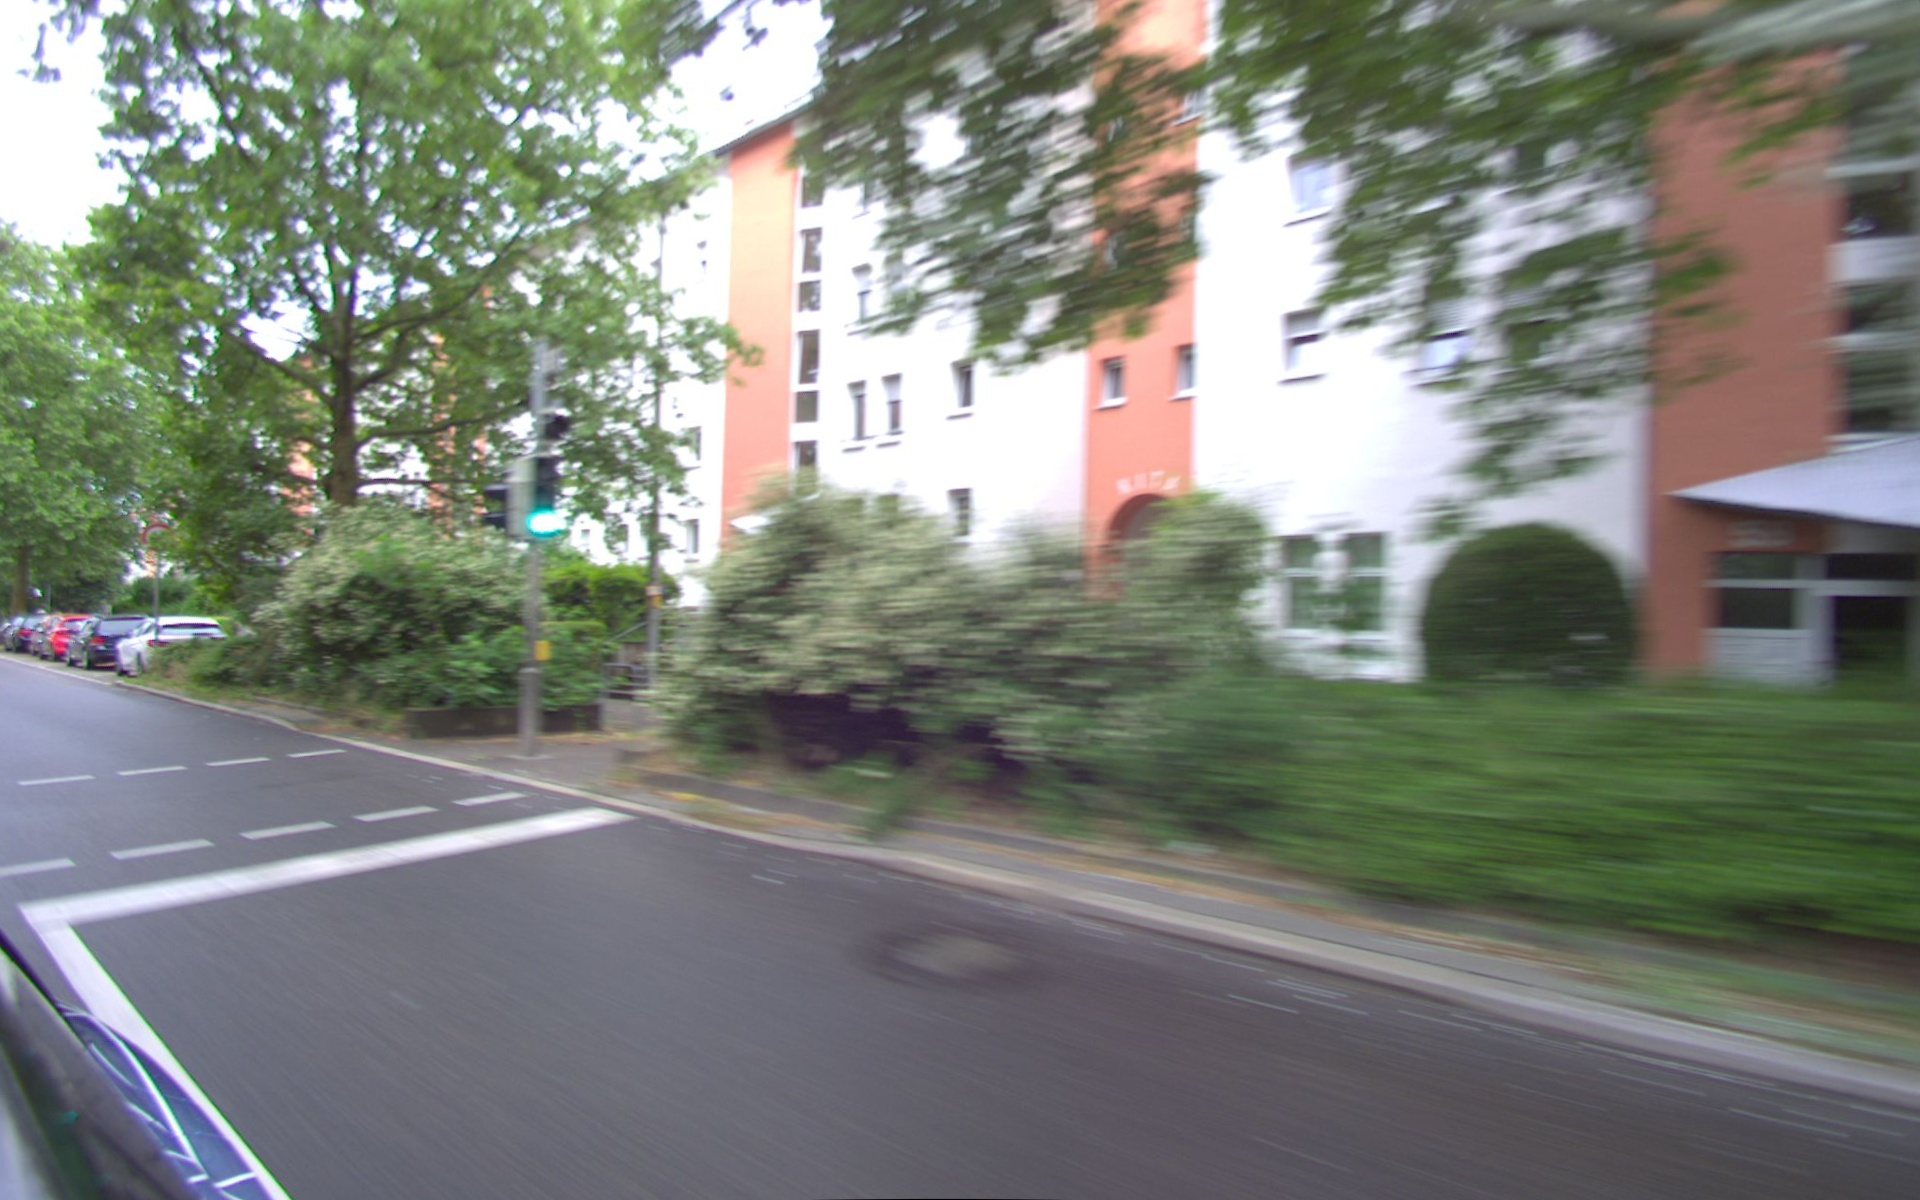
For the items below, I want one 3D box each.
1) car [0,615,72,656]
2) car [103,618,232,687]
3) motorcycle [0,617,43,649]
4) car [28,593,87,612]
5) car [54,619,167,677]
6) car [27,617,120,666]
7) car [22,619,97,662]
[{"bbox_3d":[-36.509,1.347,39.766,4.800,1.521,1.700,-1,-1,40],"label":"car"},{"bbox_3d":[-18.930,1.172,24.112,4.308,1.478,1.698,-1,-1,42],"label":"car"},{"bbox_3d":[-40.265,1.404,43.112,0.722,1.350,1.695,-1,-3,41],"label":"motorcycle"},{"bbox_3d":[-82.427,0.198,92.438,1.736,1.701,3.755,0,1,38],"label":"car"},{"bbox_3d":[-23.691,1.272,28.192,4.230,1.478,1.699,-1,-1,40],"label":"car"},{"bbox_3d":[-28.691,1.284,32.716,3.753,1.478,1.699,-1,-1,40],"label":"car"},{"bbox_3d":[-32.431,1.422,36.425,3.394,1.478,1.540,-1,-1,40],"label":"car"}]
